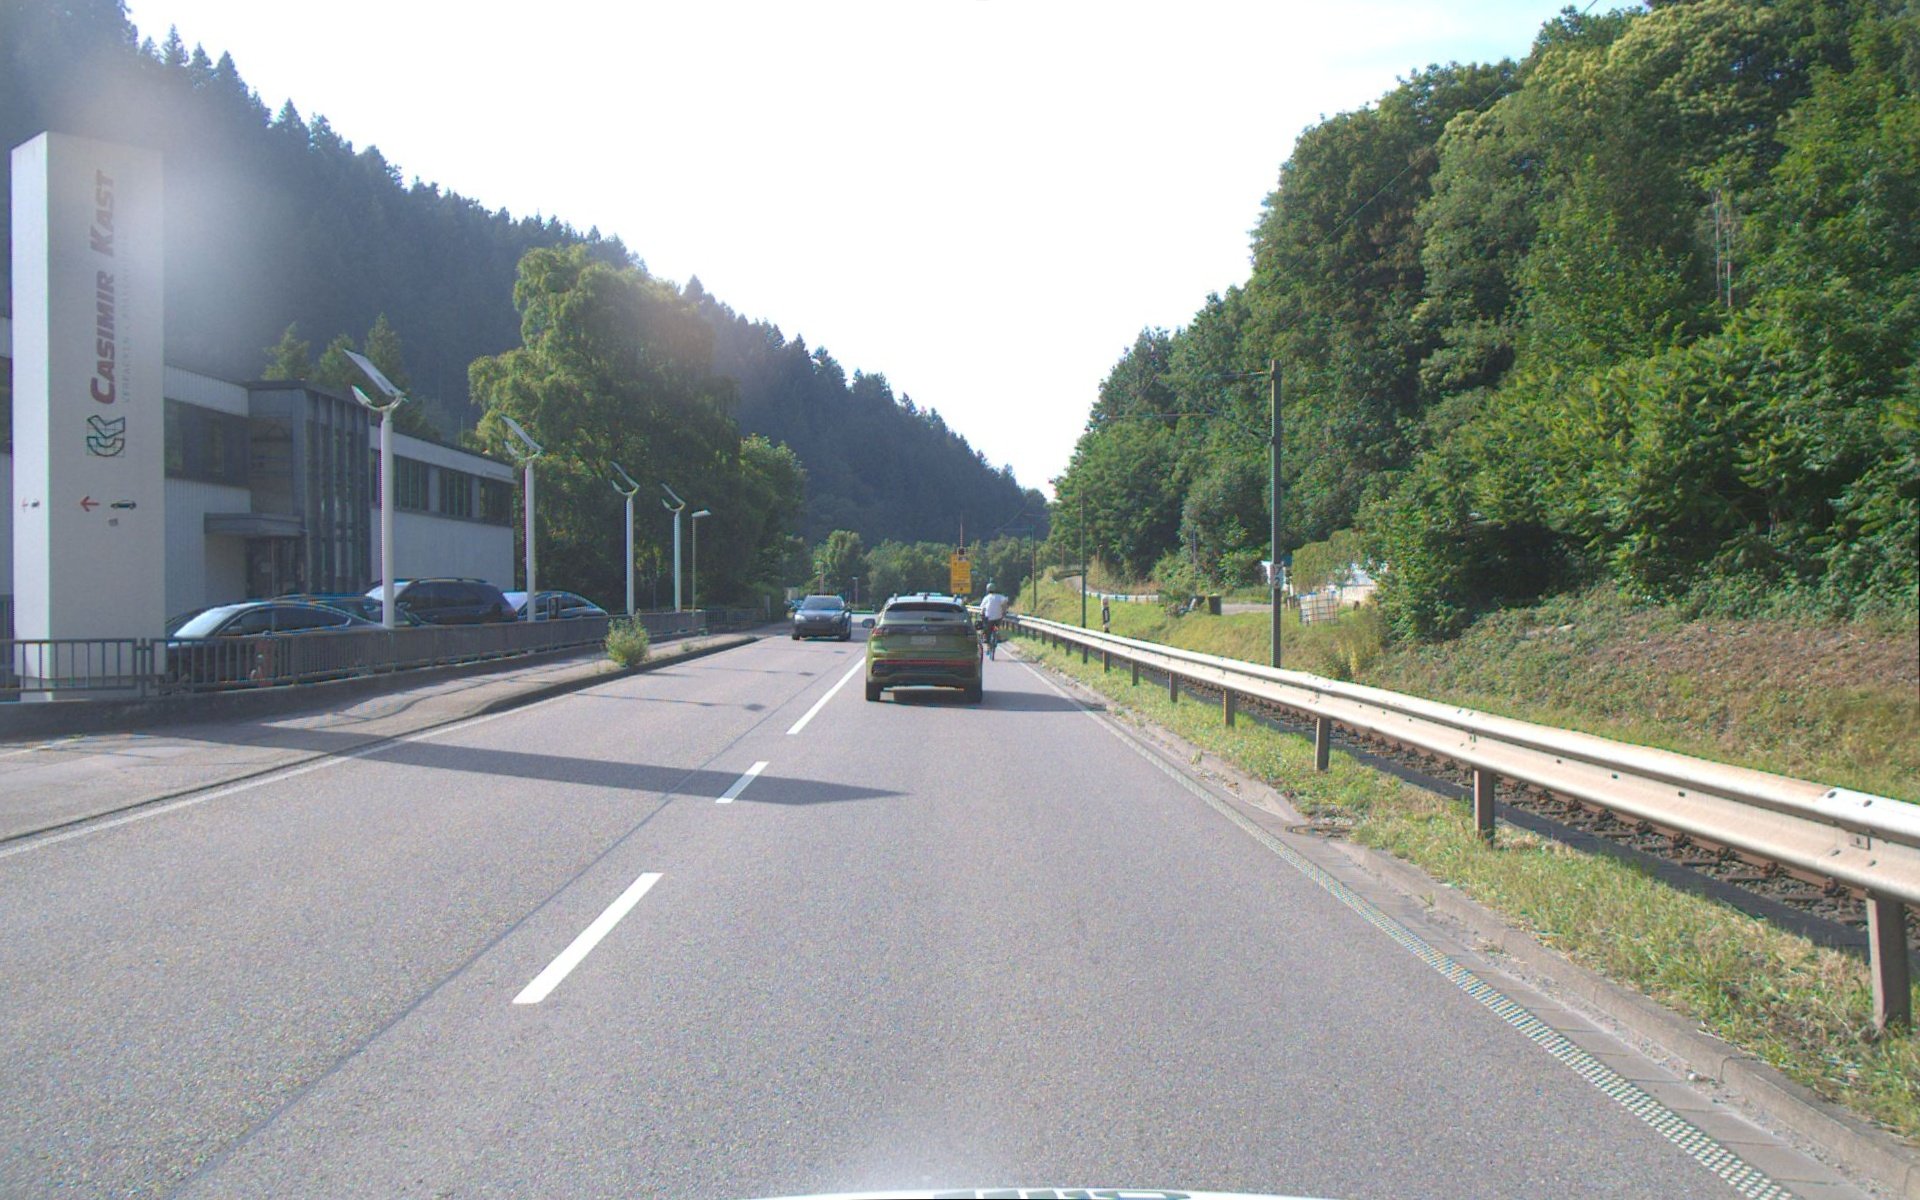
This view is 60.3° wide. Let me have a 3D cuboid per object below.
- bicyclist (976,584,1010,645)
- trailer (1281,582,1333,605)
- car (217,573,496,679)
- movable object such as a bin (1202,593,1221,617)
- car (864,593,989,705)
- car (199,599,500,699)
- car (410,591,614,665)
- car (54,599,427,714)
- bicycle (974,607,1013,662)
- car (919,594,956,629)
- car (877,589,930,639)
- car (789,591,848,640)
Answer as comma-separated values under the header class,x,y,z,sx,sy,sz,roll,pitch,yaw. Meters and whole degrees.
class,x,y,z,sx,sy,sz,roll,pitch,yaw
bicyclist,0.780,0.339,39.615,0.766,1.436,0.674,0,0,-3
trailer,19.853,-0.369,94.836,2.025,1.213,3.712,1,-1,-3
car,-11.100,0.410,30.767,1.957,1.772,4.680,0,1,31
movable object such as a bin,12.250,0.241,80.496,0.837,1.127,0.934,0,0,4
car,-0.533,0.678,24.893,1.704,1.534,3.998,1,0,-2
car,-9.888,0.732,27.194,1.674,1.464,4.727,0,0,29
car,-10.254,0.621,38.242,1.953,1.589,4.851,0,-1,23
car,-9.790,0.697,22.935,1.674,1.399,4.727,0,0,29
bicycle,0.791,0.804,39.520,0.795,1.272,2.121,0,0,-3
car,-1.134,0.550,81.178,1.704,1.630,3.998,0,0,-2
car,-1.918,0.458,56.047,1.704,1.630,3.998,1,0,-2
car,-4.658,0.482,54.799,1.643,1.511,4.245,2,0,-1
